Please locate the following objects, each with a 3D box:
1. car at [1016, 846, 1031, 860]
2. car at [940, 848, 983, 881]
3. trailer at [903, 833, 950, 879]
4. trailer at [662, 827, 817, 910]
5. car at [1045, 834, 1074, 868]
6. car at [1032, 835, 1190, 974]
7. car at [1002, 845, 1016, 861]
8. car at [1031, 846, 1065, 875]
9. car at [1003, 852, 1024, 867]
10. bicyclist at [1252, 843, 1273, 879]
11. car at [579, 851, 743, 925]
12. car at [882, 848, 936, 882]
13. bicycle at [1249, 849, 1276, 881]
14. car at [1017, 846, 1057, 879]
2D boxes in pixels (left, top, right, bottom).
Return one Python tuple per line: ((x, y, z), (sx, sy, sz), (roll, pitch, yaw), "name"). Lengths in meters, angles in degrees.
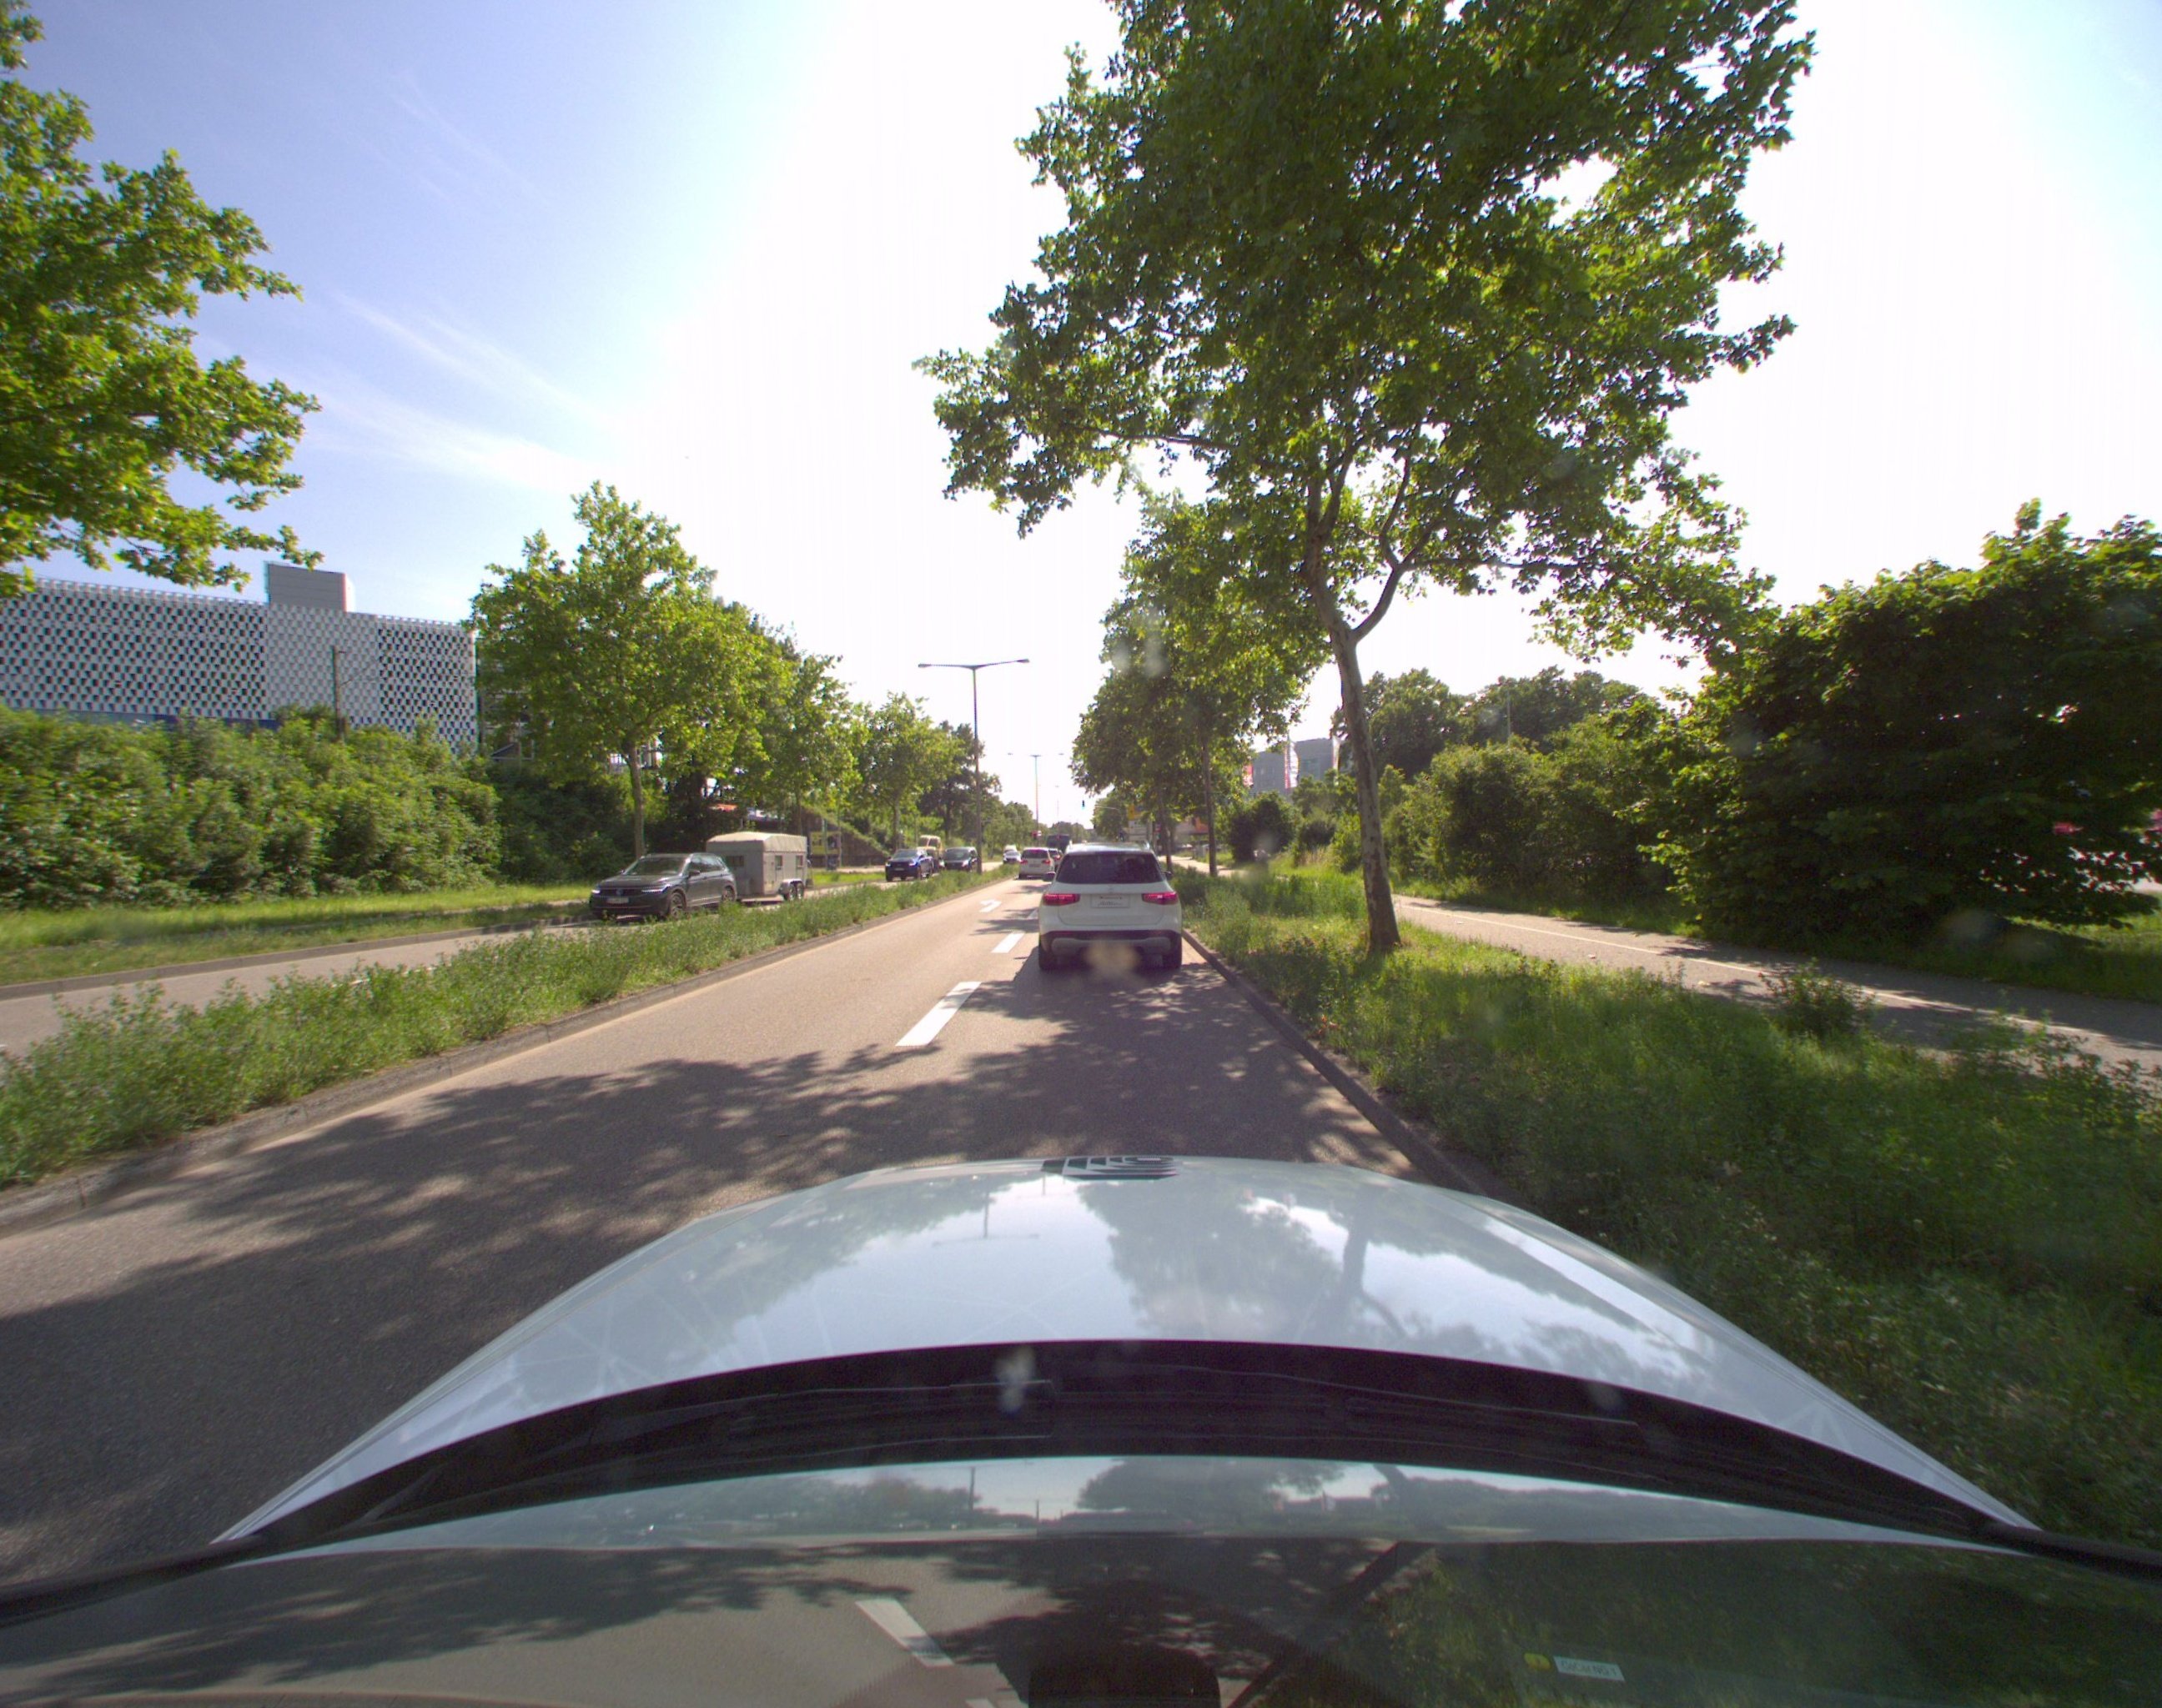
((-8.060, -0.109, 115.277), (1.988, 1.882, 3.997), (0, 0, -2), "car")
((-6.831, 0.602, 47.090), (1.724, 1.809, 4.234), (0, 0, 2), "car")
((-9.612, 0.136, 51.039), (1.873, 2.744, 4.830), (0, 0, 2), "trailer")
((-10.368, 0.403, 25.362), (2.300, 2.265, 5.540), (-1, 0, 2), "trailer")
((-1.699, -0.254, 65.686), (2.073, 2.656, 4.876), (0, 0, 2), "car")
((0.375, 0.592, 11.675), (1.847, 1.607, 4.000), (-1, 0, 0), "car")
((-10.871, -0.188, 123.572), (1.990, 2.418, 5.131), (-1, 0, -4), "car")
((-1.951, 0.383, 49.670), (1.765, 1.647, 4.086), (-1, 0, 2), "car")
((-6.620, 0.505, 79.727), (1.597, 1.472, 3.792), (-1, 0, 2), "car")
((7.644, 0.296, 34.340), (0.701, 1.477, 1.010), (0, 0, 2), "bicyclist")
((-10.300, 0.755, 20.394), (1.709, 1.622, 4.363), (-1, 0, 2), "car")
((-9.747, 0.582, 46.620), (1.758, 1.789, 5.378), (0, 0, 2), "car")
((7.627, 0.465, 34.339), (0.720, 1.299, 2.096), (0, 0, 2), "bicycle")
((-2.279, 0.413, 43.466), (1.765, 1.647, 4.354), (-1, 0, 2), "car")
